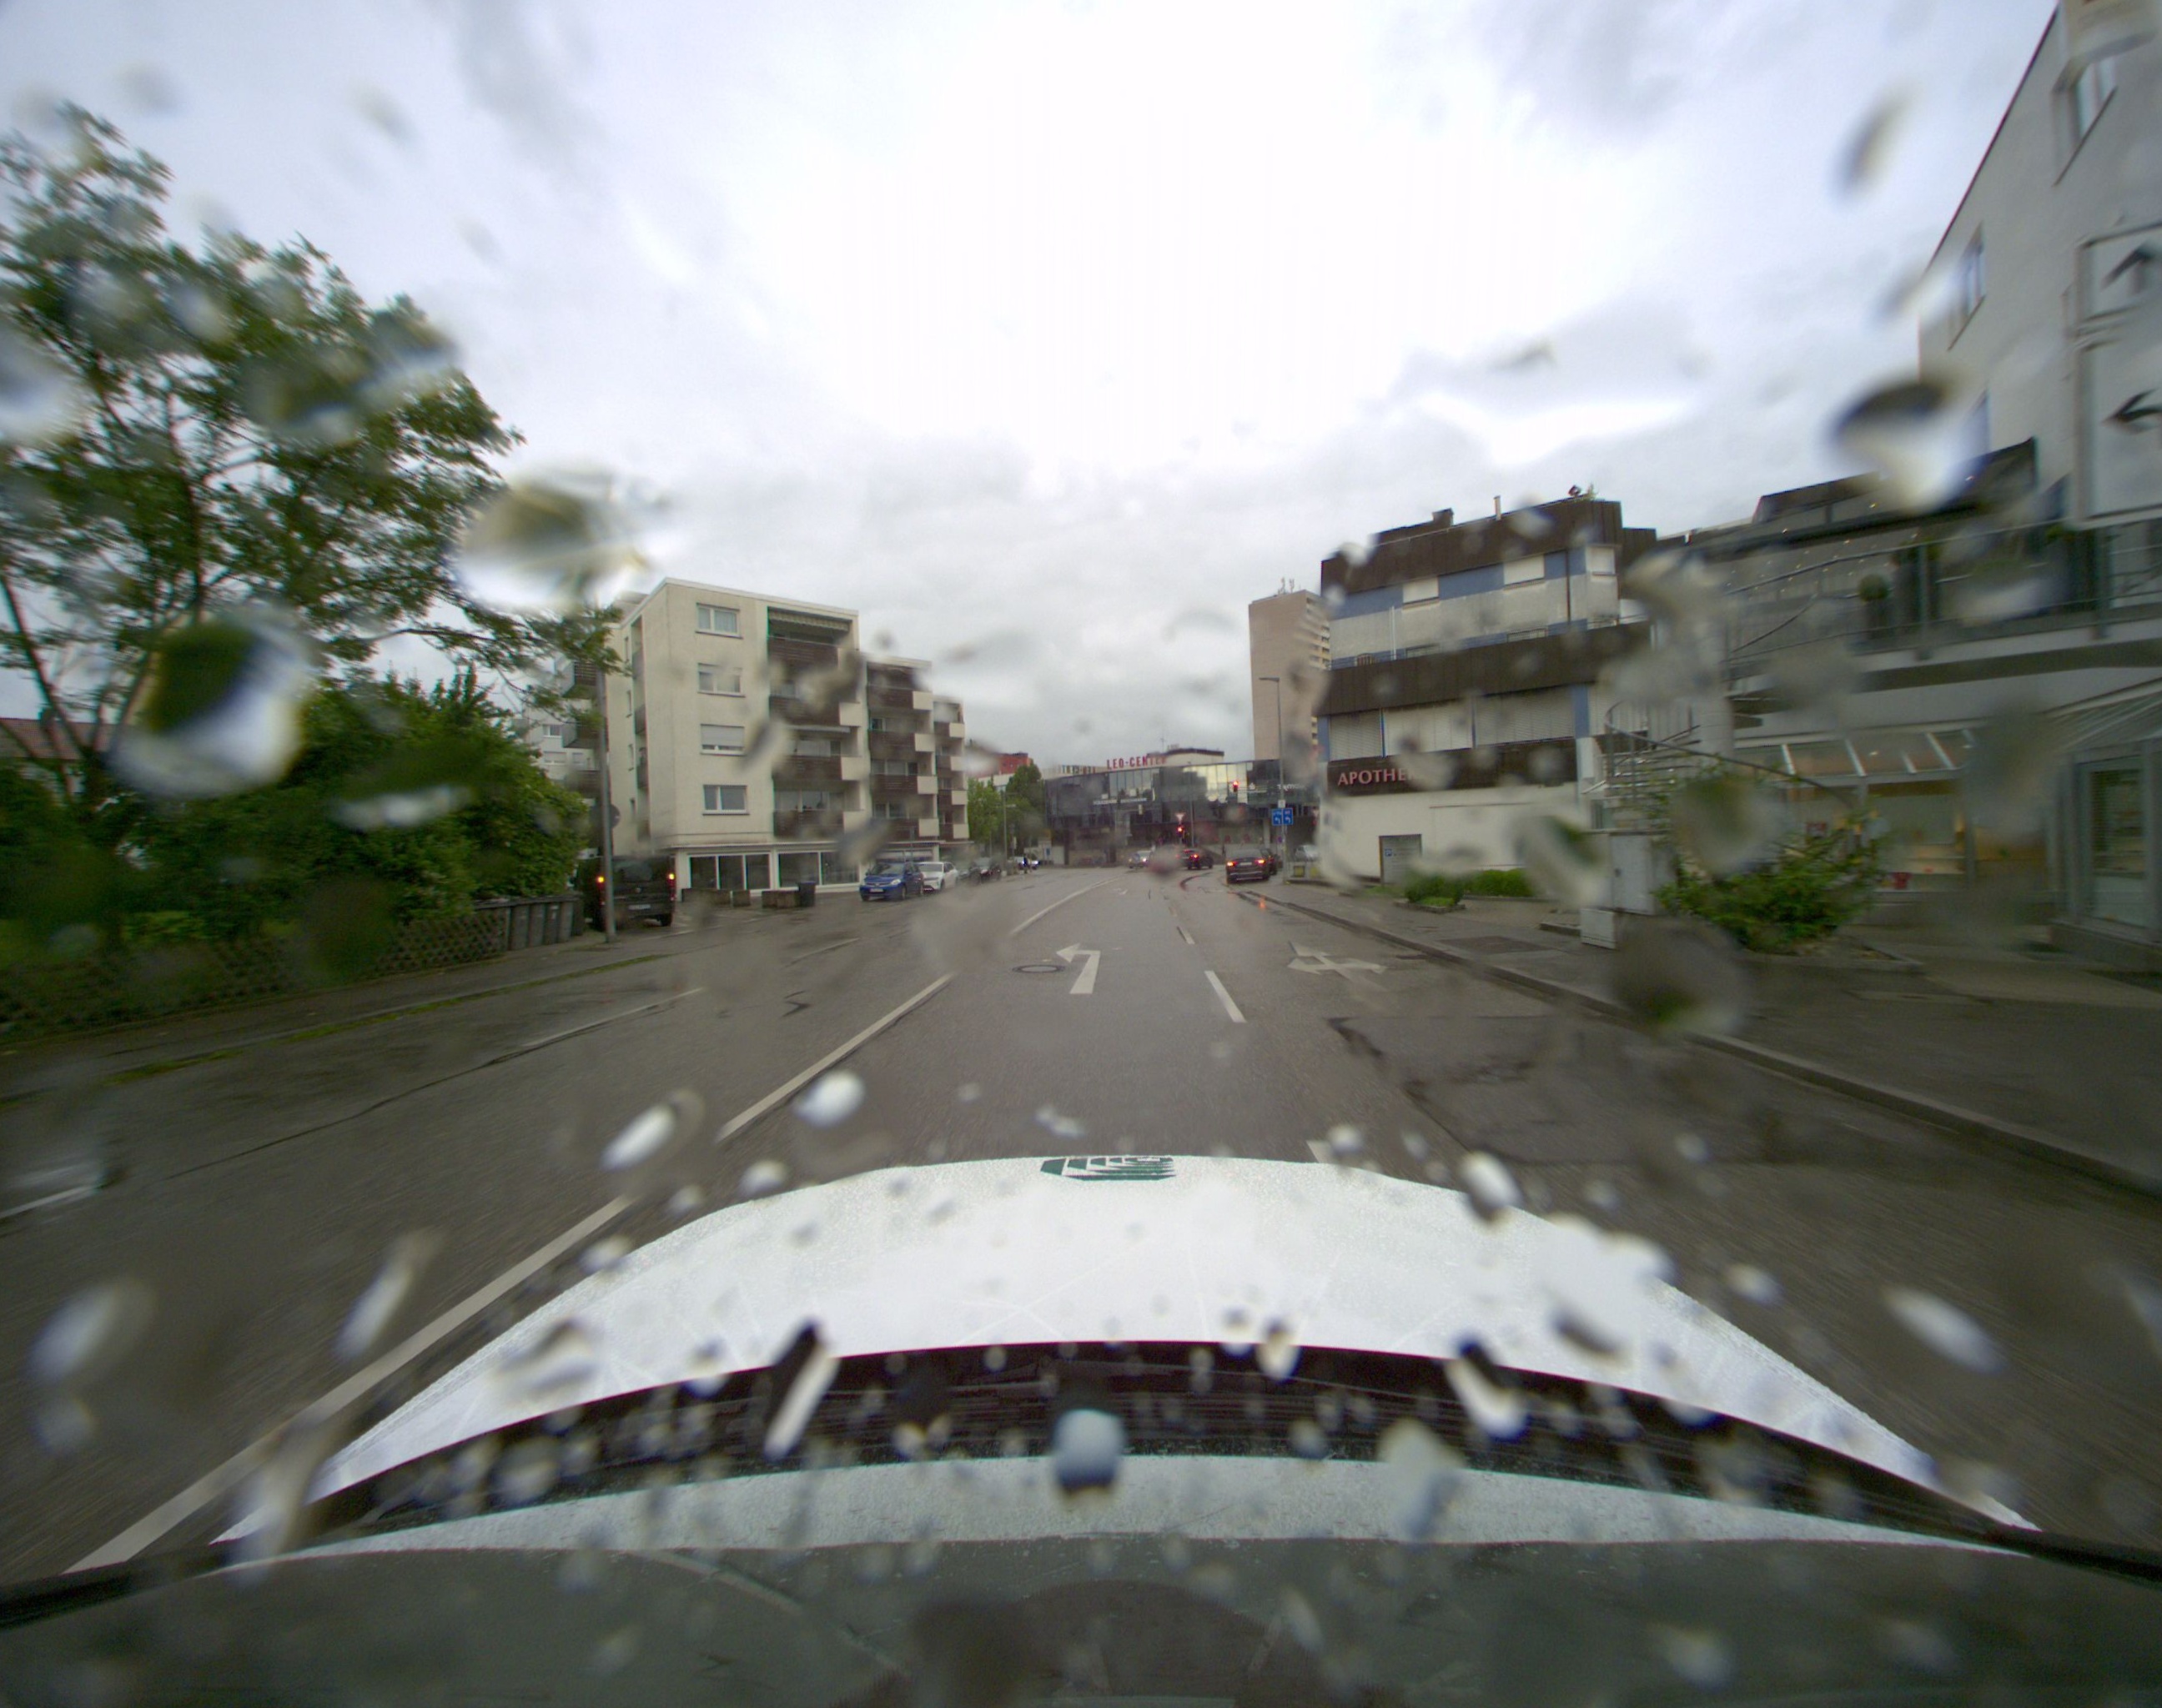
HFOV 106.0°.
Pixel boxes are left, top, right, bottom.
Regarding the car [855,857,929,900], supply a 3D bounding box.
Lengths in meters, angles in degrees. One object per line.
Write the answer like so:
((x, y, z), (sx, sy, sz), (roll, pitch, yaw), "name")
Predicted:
((-7.631, 0.943, 33.359), (1.644, 1.521, 4.330), (-2, 0, 5), "car")

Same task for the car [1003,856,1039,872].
((-6.322, 1.015, 85.392), (2.007, 1.511, 4.389), (1, 2, -32), "car")

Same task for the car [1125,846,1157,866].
((5.122, 0.133, 69.065), (1.811, 1.439, 3.858), (-4, 1, 17), "car")

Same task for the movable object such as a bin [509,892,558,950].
((-11.360, 1.376, 16.921), (0.599, 1.118, 0.600), (-3, 0, -9), "movable object such as a bin")

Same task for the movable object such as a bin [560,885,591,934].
((-12.336, 1.347, 19.893), (0.603, 1.118, 0.595), (-3, 0, -32), "movable object such as a bin")

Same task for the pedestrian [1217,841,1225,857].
((17.897, -0.614, 103.948), (0.781, 2.013, 0.673), (-3, 0, 15), "pedestrian")

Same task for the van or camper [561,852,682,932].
((-13.115, 0.957, 23.070), (2.011, 1.924, 5.157), (-4, 2, -40), "van or camper")

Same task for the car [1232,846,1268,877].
((9.413, 0.389, 45.042), (1.686, 1.486, 4.015), (-5, 0, 14), "car")

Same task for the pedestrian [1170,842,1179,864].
((7.358, -0.077, 64.186), (0.607, 1.659, 0.672), (1, 1, 0), "pedestrian")

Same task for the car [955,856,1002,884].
((-6.168, 0.937, 49.582), (1.925, 1.541, 4.279), (-2, 0, 5), "car")

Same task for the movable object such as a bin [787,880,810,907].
((-10.306, 1.436, 29.711), (0.571, 0.903, 0.599), (-3, 0, 5), "movable object such as a bin")

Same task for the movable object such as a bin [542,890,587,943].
((-11.513, 1.384, 18.161), (0.599, 1.118, 0.600), (-3, 0, -9), "movable object such as a bin")

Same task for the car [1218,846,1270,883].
((7.411, 0.480, 36.674), (1.979, 1.534, 4.665), (-1, -1, 15), "car")

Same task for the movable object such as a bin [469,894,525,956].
((-11.245, 1.350, 15.686), (0.597, 1.118, 0.601), (-2, 0, 2), "movable object such as a bin")

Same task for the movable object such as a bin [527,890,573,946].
((-11.425, 1.371, 17.537), (0.599, 1.118, 0.600), (-3, 0, -9), "movable object such as a bin")

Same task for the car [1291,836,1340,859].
((21.946, -0.594, 76.396), (2.010, 2.013, 3.954), (-2, 0, -38), "car")

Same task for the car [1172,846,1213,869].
((7.709, 0.194, 56.046), (1.789, 1.419, 4.021), (-2, 0, 21), "car")

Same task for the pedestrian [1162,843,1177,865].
((6.874, 0.007, 63.288), (0.912, 1.659, 0.750), (1, 1, -23), "pedestrian")

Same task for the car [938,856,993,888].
((-6.191, 0.928, 44.205), (1.925, 1.541, 4.528), (-2, 0, 5), "car")

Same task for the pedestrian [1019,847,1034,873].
((-4.315, 0.452, 64.699), (0.741, 2.013, 0.926), (2, 0, 26), "pedestrian")

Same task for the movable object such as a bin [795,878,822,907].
((-9.728, 1.374, 29.064), (0.645, 0.966, 0.683), (-3, 0, 5), "movable object such as a bin")

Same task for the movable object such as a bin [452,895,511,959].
((-11.068, 1.340, 15.047), (0.597, 1.118, 0.601), (-2, 0, 2), "movable object such as a bin")

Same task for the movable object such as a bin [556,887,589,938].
((-11.956, 1.363, 19.154), (0.603, 1.118, 0.595), (-3, 0, -32), "movable object such as a bin")

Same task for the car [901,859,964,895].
((-7.024, 1.049, 38.903), (1.685, 1.464, 4.691), (-2, 0, 5), "car")

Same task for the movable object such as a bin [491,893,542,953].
((-11.289, 1.363, 16.307), (0.599, 1.118, 0.600), (-3, 0, -9), "movable object such as a bin")
